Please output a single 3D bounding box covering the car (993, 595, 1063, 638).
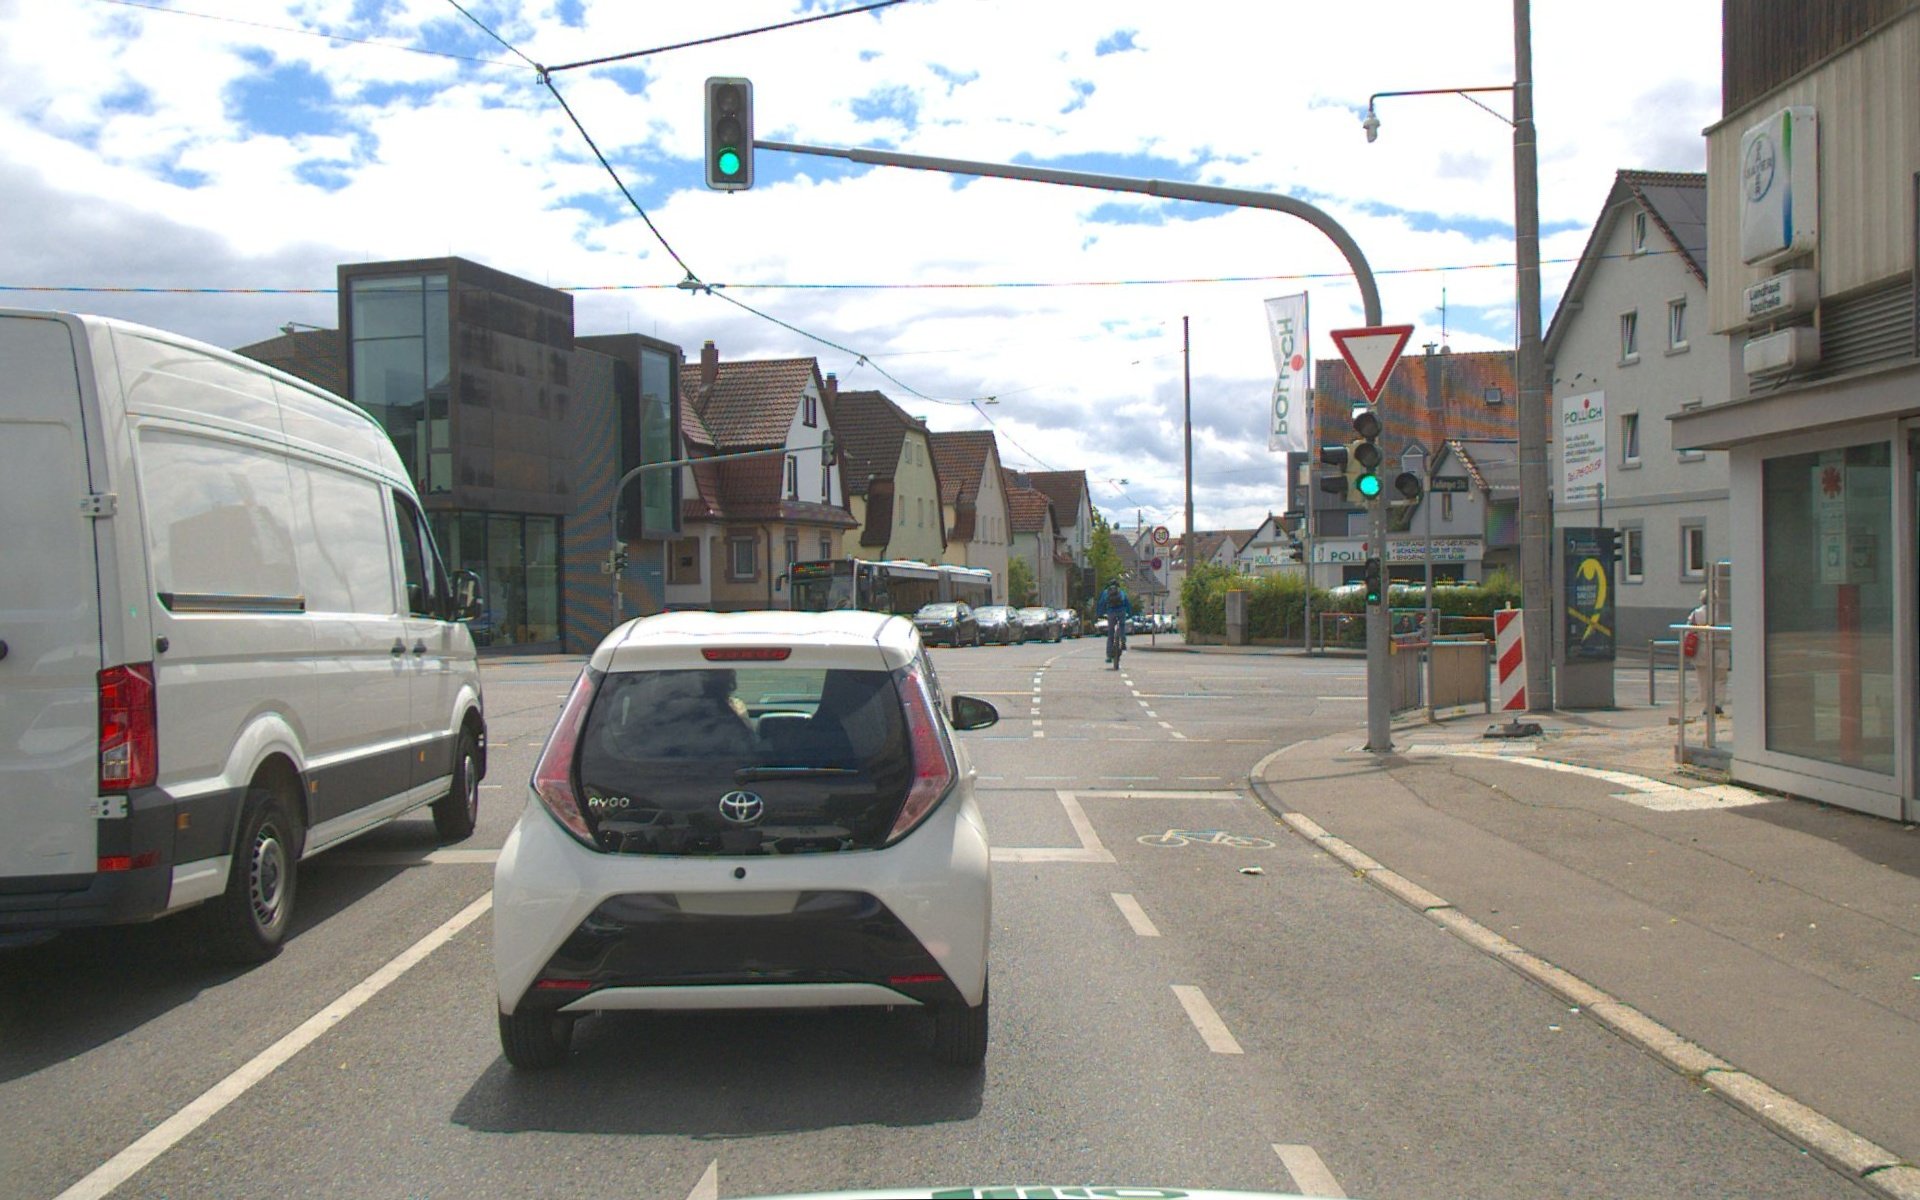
[{"bbox_3d":[2.832,0.654,67.972,1.951,1.668,4.002,0,0,16],"label":"car"}]

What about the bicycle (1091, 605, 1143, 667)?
[{"bbox_3d":[3.132,0.702,33.127,0.815,1.184,2.191,-1,0,0],"label":"bicycle"}]

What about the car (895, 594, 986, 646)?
[{"bbox_3d":[-0.607,0.638,55.300,1.951,1.668,4.002,0,0,16],"label":"car"}]

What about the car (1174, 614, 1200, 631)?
[{"bbox_3d":[22.318,2.204,162.596,1.951,1.668,4.002,0,0,16],"label":"car"}]

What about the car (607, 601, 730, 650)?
[{"bbox_3d":[-10.516,0.904,59.858,3.902,1.713,2.002,-1,0,13],"label":"car"}]

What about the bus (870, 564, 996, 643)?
[{"bbox_3d":[-0.924,0.120,66.883,2.719,2.965,9.198,0,0,15],"label":"bus"}]

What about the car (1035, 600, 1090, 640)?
[{"bbox_3d":[5.551,1.041,88.984,1.952,2.049,4.001,0,0,19],"label":"car"}]

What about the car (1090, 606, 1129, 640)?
[{"bbox_3d":[9.467,1.450,104.694,1.951,2.049,4.003,0,0,12],"label":"car"}]

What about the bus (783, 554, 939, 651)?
[{"bbox_3d":[-3.271,0.067,57.878,2.719,3.114,9.198,0,0,15],"label":"bus"}]

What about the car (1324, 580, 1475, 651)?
[{"bbox_3d":[13.116,0.455,49.447,3.913,2.049,1.996,0,0,-9],"label":"car"}]

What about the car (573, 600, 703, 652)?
[{"bbox_3d":[-11.087,0.872,57.123,3.902,1.668,2.002,1,0,13],"label":"car"}]

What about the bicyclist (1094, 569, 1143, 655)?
[{"bbox_3d":[3.157,0.237,33.062,0.823,1.642,1.083,3,0,0],"label":"bicyclist"}]

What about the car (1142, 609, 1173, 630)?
[{"bbox_3d":[16.233,1.584,135.794,1.951,1.668,4.002,0,0,16],"label":"car"}]

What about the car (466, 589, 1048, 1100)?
[{"bbox_3d":[-0.678,0.704,6.653,1.703,1.486,3.530,0,0,-3],"label":"car"}]

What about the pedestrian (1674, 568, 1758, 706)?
[{"bbox_3d":[9.357,0.447,20.493,0.816,1.666,0.874,0,0,16],"label":"pedestrian"}]

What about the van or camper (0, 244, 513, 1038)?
[{"bbox_3d":[-3.929,0.142,8.280,2.065,2.632,5.641,-2,0,-3],"label":"van or camper"}]

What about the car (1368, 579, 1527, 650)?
[{"bbox_3d":[13.866,0.409,47.141,3.914,1.982,1.995,0,0,-10],"label":"car"}]

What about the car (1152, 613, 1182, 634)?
[{"bbox_3d":[17.699,2.012,141.296,1.951,1.668,4.002,0,0,16],"label":"car"}]

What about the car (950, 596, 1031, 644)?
[{"bbox_3d":[1.158,0.684,60.451,1.951,1.668,4.186,0,0,16],"label":"car"}]

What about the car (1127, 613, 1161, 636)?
[{"bbox_3d":[14.382,1.891,129.195,1.951,1.668,4.002,0,0,16],"label":"car"}]
